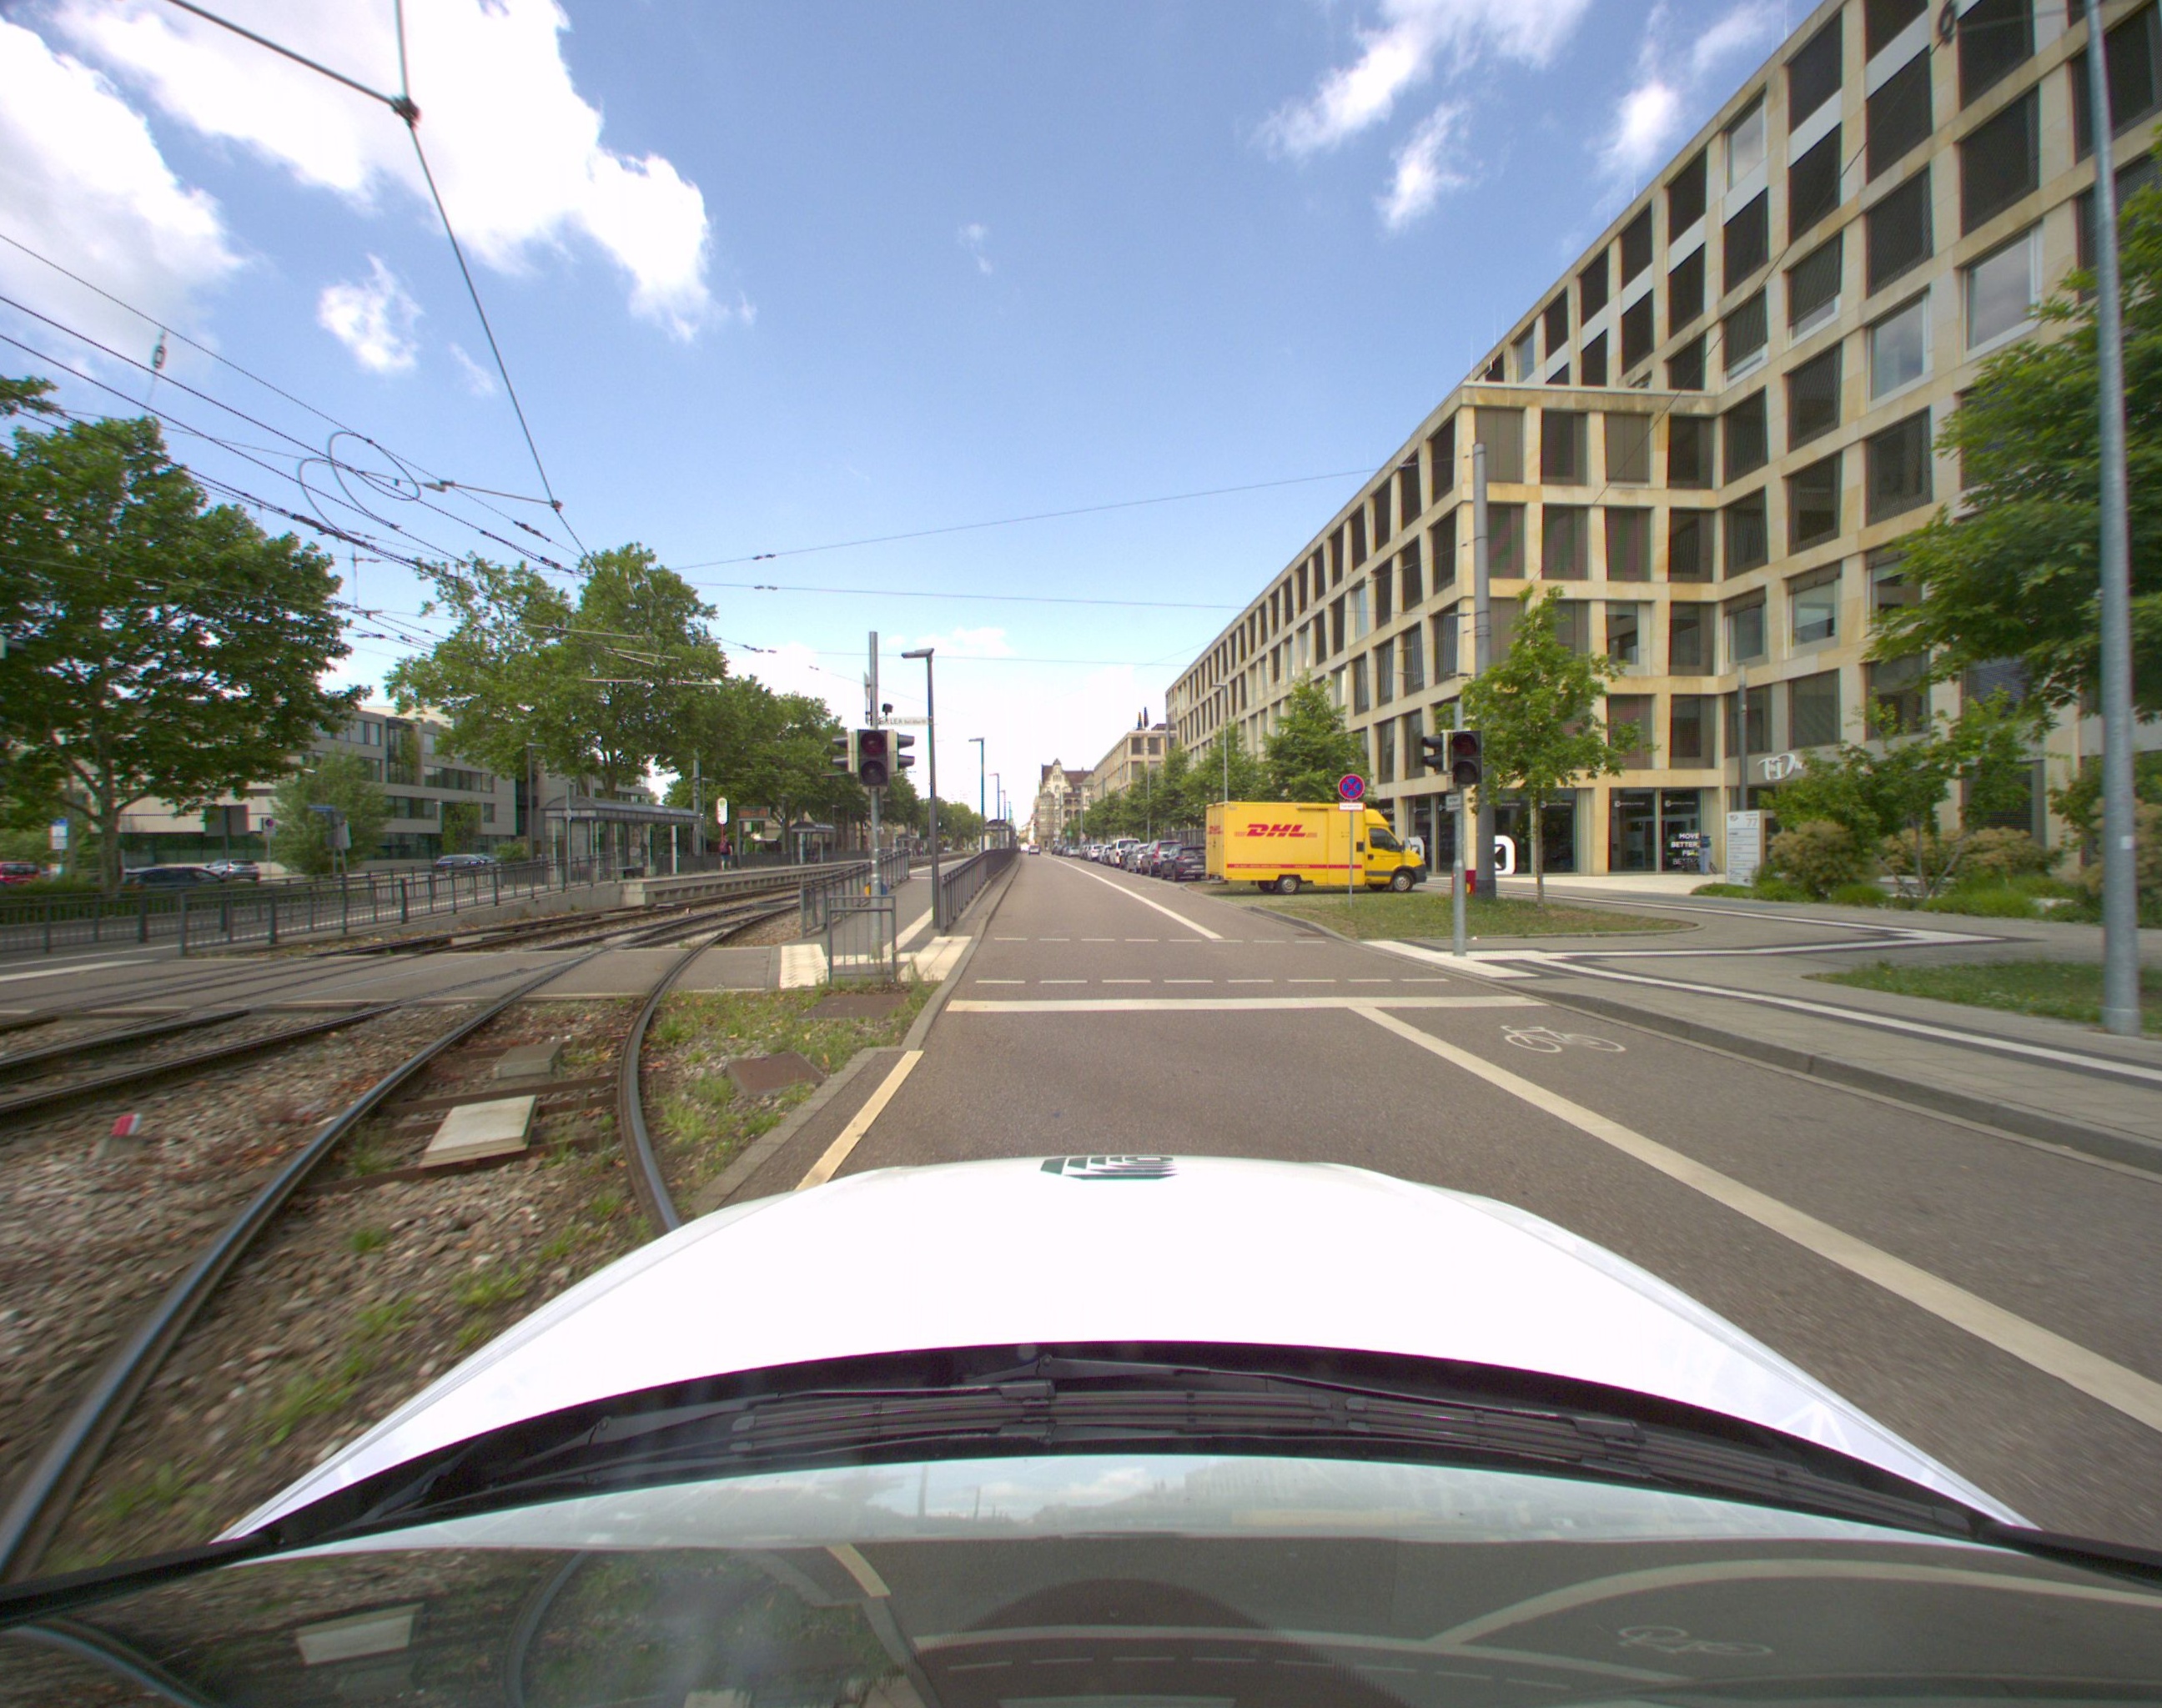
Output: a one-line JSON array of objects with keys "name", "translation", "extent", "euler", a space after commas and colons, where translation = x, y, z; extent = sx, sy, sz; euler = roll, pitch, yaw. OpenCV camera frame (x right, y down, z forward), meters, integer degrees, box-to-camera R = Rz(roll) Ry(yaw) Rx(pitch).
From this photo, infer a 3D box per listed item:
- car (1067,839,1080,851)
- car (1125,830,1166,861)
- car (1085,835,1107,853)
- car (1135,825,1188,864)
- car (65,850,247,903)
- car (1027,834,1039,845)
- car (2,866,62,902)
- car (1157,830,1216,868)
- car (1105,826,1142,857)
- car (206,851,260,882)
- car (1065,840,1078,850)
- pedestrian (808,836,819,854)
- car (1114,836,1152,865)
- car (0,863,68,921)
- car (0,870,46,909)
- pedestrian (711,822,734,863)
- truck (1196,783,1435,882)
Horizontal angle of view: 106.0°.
[{"name": "car", "translation": [-1.026, -1.208, 110.070], "extent": [1.588, 1.460, 3.608], "euler": [0, -1, -3]}, {"name": "car", "translation": [3.565, -0.447, 45.465], "extent": [1.718, 1.620, 3.853], "euler": [-1, -1, -4]}, {"name": "car", "translation": [1.371, -0.936, 77.467], "extent": [1.682, 1.606, 4.145], "euler": [-2, -1, -4]}, {"name": "car", "translation": [3.934, -0.398, 40.390], "extent": [1.766, 1.767, 4.832], "euler": [-1, -1, -4]}, {"name": "car", "translation": [-29.668, 0.676, 26.295], "extent": [1.686, 1.534, 3.651], "euler": [-1, 0, -1]}, {"name": "car", "translation": [-8.007, -2.347, 135.095], "extent": [1.866, 1.746, 3.993], "euler": [0, -1, -5]}, {"name": "car", "translation": [-63.295, 1.778, 49.140], "extent": [3.948, 2.013, 2.013], "euler": [-2, 0, 35]}, {"name": "car", "translation": [4.459, -0.188, 34.965], "extent": [1.688, 1.505, 4.061], "euler": [-1, -1, -4]}, {"name": "car", "translation": [2.914, -0.814, 56.760], "extent": [1.878, 1.939, 4.835], "euler": [-2, -1, -4]}, {"name": "car", "translation": [-58.976, 0.886, 56.637], "extent": [3.948, 2.013, 2.013], "euler": [-2, 0, 35]}, {"name": "car", "translation": [-1.465, -1.320, 121.269], "extent": [1.589, 1.434, 4.098], "euler": [1, -1, -6]}, {"name": "pedestrian", "translation": [-19.296, -0.623, 58.662], "extent": [0.551, 1.269, 0.767], "euler": [-1, -1, -3]}, {"name": "car", "translation": [3.157, -0.177, 50.341], "extent": [1.718, 1.640, 4.520], "euler": [-2, -1, -4]}, {"name": "car", "translation": [-29.769, 1.046, 21.421], "extent": [1.686, 1.534, 3.651], "euler": [-1, 0, -1]}, {"name": "car", "translation": [-59.252, 1.972, 44.636], "extent": [4.385, 2.014, 2.011], "euler": [-3, -1, 23]}, {"name": "pedestrian", "translation": [-16.667, -0.529, 37.849], "extent": [0.705, 1.845, 0.863], "euler": [-1, 1, -6]}, {"name": "truck", "translation": [7.266, -0.641, 25.680], "extent": [6.799, 2.867, 2.448], "euler": [-1, -1, -7]}]
